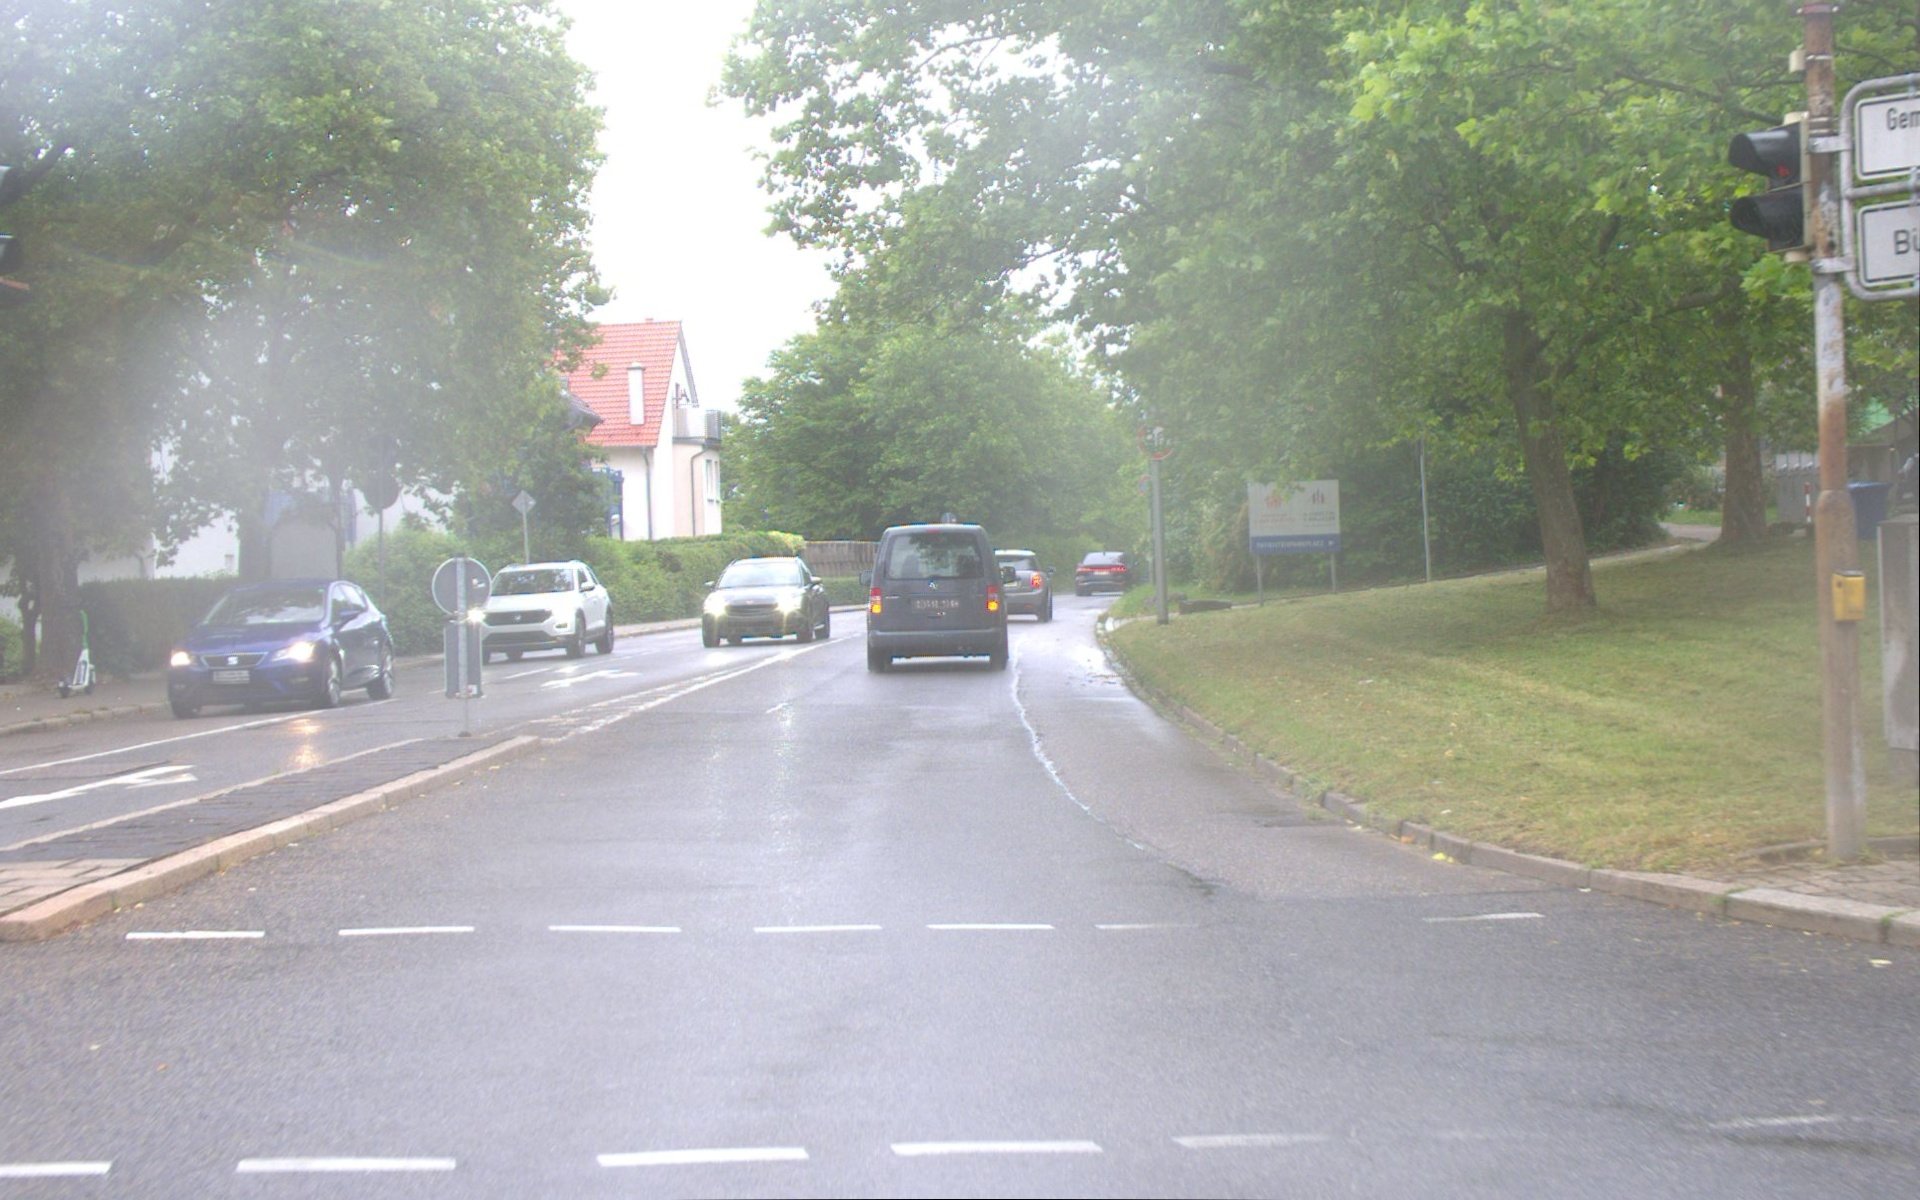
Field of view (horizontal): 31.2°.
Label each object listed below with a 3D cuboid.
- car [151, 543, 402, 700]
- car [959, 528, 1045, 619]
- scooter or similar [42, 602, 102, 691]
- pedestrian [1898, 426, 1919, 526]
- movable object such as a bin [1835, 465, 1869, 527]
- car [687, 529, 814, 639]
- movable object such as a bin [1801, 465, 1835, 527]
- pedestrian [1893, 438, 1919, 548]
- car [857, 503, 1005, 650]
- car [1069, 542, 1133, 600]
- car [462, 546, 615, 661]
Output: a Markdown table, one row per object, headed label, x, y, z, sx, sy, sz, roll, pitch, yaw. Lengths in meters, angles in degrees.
| label | x | y | z | sx | sy | sz | roll | pitch | yaw |
| --- | --- | --- | --- | --- | --- | --- | --- | --- | --- |
| car | -7.519 | 0.195 | 38.191 | 1.793 | 1.522 | 4.209 | -2 | 2 | 2 |
| car | 0.857 | -0.553 | 69.940 | 1.705 | 1.802 | 3.685 | 0 | 1 | 1 |
| scooter or similar | -10.934 | 0.563 | 42.368 | 0.389 | 1.061 | 1.410 | 0 | 1 | -1 |
| pedestrian | 15.453 | -1.995 | 55.407 | 0.601 | 1.611 | 0.525 | 0 | 1 | 10 |
| movable object such as a bin | 13.203 | -1.540 | 50.888 | 0.450 | 0.902 | 0.462 | 0 | 1 | 19 |
| car | -3.469 | -0.298 | 57.472 | 1.747 | 1.666 | 3.707 | -2 | 2 | 2 |
| movable object such as a bin | 12.743 | -1.541 | 51.055 | 0.450 | 0.902 | 0.462 | 0 | 1 | 19 |
| pedestrian | 15.392 | -1.709 | 55.280 | 0.557 | 1.757 | 0.728 | 0 | 1 | -1 |
| car | -0.342 | -0.307 | 44.006 | 1.812 | 1.802 | 3.757 | 0 | 1 | 1 |
| car | 4.607 | -0.955 | 112.820 | 1.993 | 1.875 | 4.000 | 0 | 1 | 1 |
| car | -6.794 | 0.028 | 55.805 | 1.830 | 1.666 | 4.051 | -2 | 2 | 2 |
